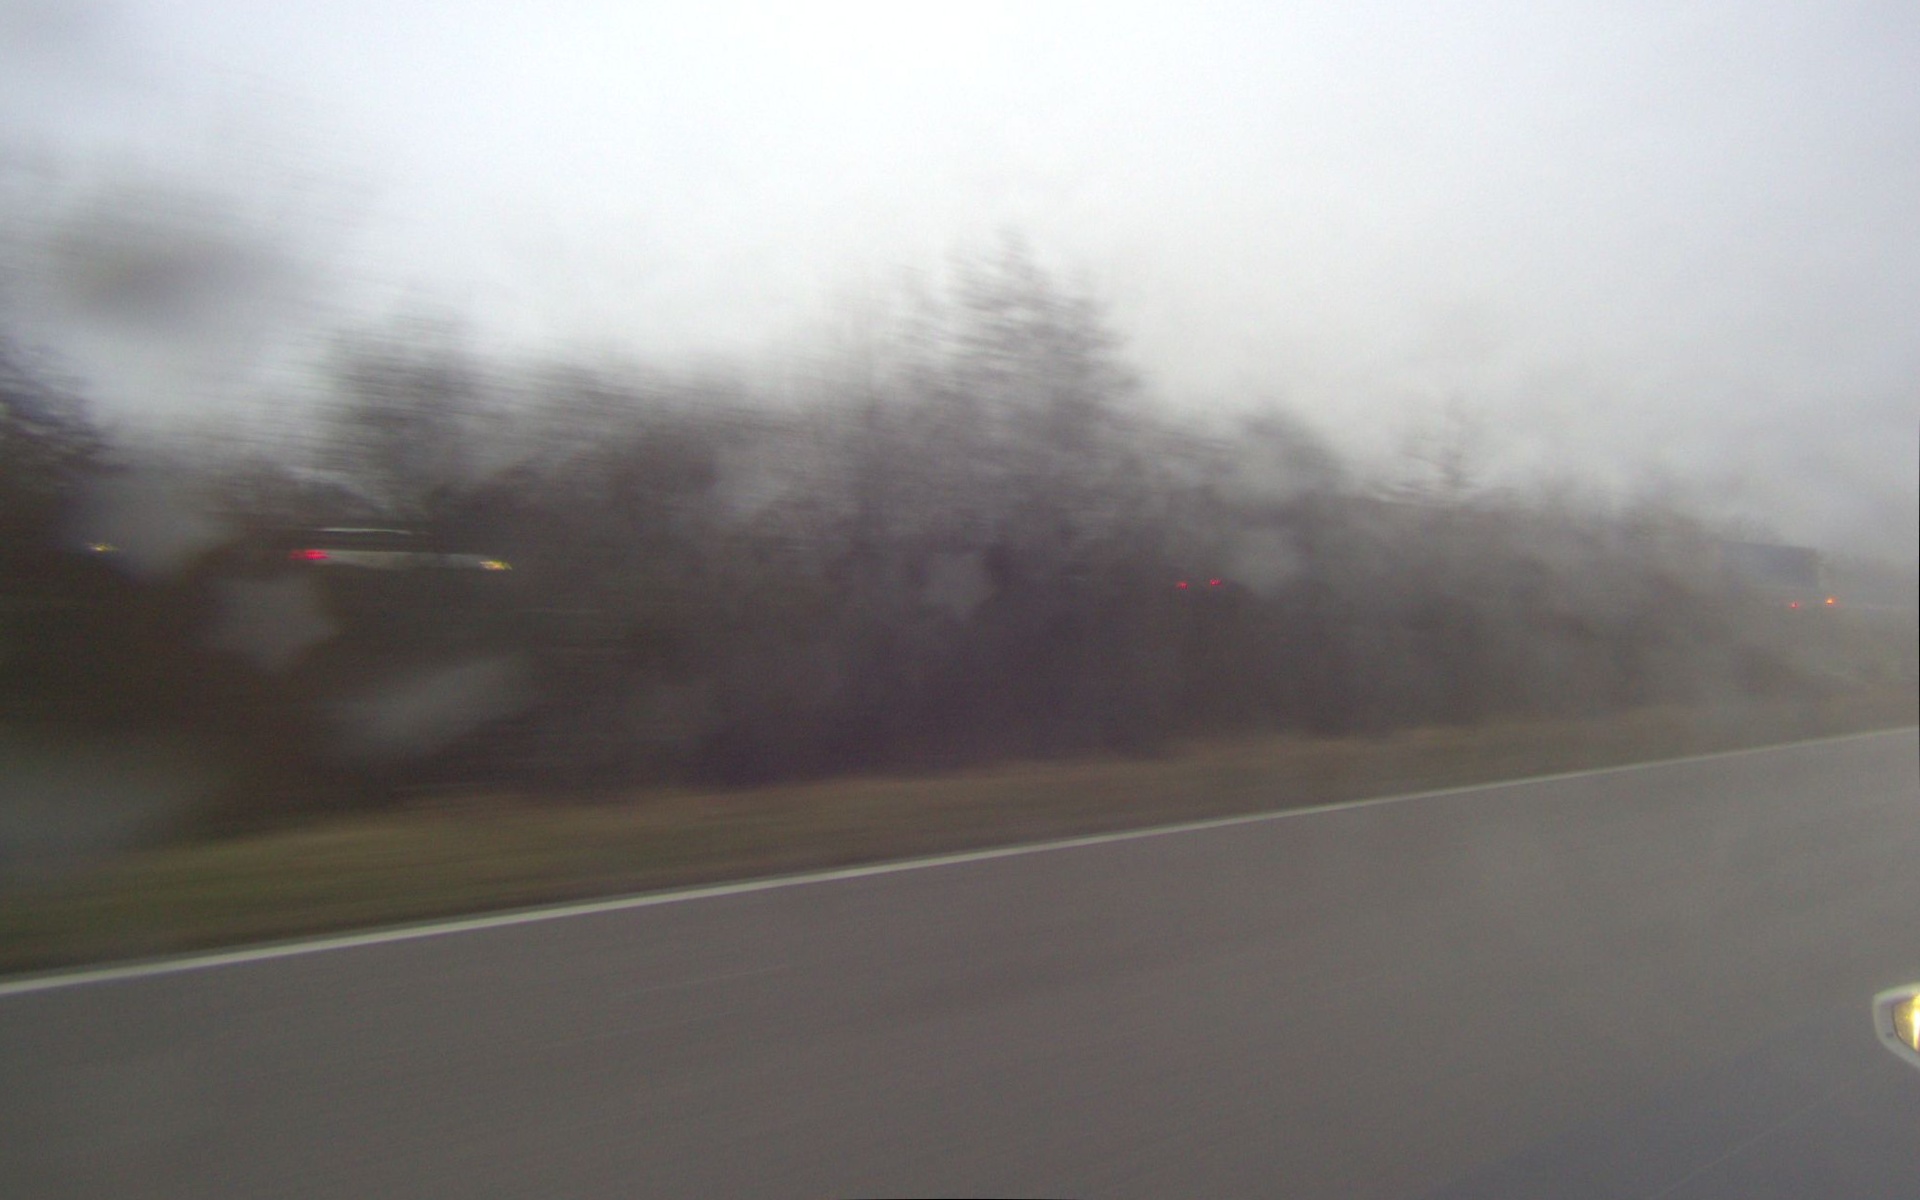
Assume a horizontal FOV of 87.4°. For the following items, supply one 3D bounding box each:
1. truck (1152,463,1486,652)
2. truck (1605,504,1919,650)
[{"bbox_3d":[14.647,-1.277,39.773,15.570,6.372,3.742,1,0,-33],"label":"truck"},{"bbox_3d":[57.960,-0.827,67.094,39.669,7.816,7.509,1,0,-30],"label":"truck"}]
